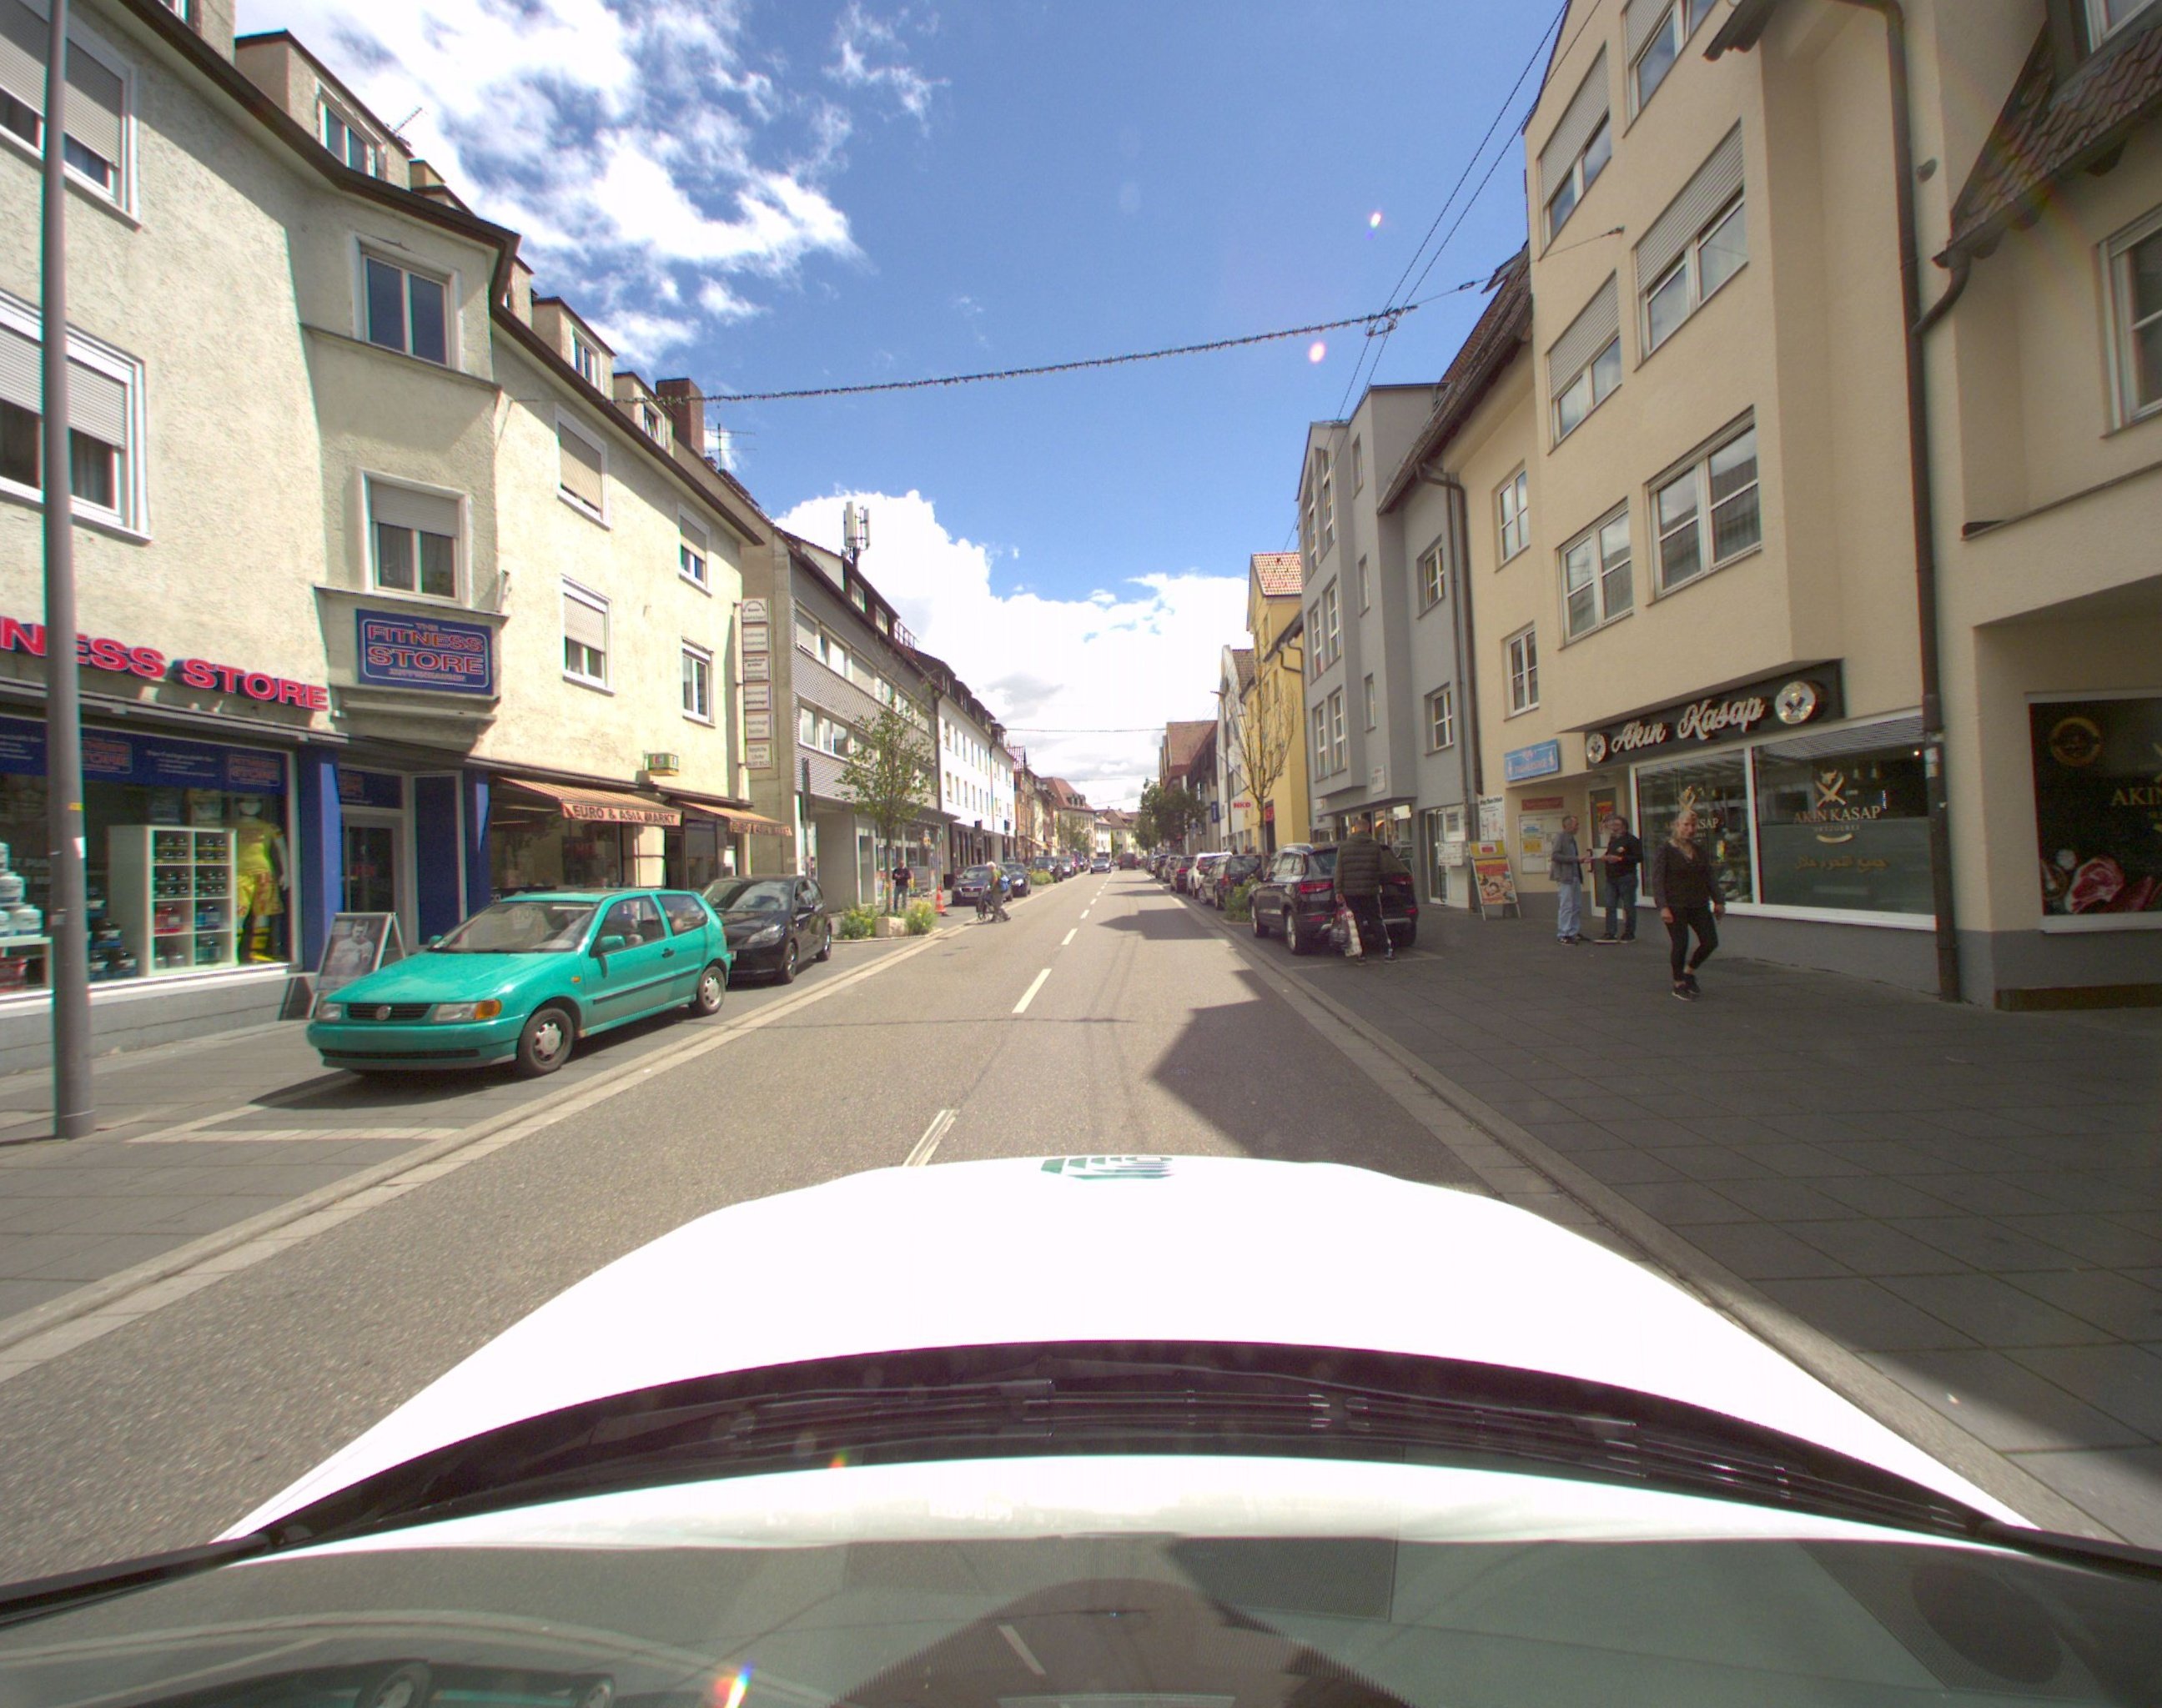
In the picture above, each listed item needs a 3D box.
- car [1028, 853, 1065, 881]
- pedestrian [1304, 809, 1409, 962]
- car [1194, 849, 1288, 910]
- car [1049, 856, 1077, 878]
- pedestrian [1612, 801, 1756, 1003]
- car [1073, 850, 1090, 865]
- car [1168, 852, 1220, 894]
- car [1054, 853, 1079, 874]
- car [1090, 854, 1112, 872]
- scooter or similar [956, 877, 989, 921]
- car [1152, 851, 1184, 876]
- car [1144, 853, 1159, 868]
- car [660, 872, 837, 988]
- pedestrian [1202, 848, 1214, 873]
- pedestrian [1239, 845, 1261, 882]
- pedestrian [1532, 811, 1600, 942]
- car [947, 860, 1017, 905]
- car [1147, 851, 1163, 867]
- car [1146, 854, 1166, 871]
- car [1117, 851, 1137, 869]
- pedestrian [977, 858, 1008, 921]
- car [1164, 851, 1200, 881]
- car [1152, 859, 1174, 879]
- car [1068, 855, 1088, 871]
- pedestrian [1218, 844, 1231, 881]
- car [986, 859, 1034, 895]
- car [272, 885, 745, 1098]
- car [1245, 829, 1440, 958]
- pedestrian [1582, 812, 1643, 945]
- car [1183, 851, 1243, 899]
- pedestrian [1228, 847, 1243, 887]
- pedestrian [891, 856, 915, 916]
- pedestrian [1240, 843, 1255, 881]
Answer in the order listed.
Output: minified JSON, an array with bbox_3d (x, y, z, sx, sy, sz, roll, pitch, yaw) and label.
[{"bbox_3d":[-2.224,0.856,53.681,1.807,1.755,4.676,-1,-1,6],"label":"car"},{"bbox_3d":[3.584,0.402,10.673,0.972,1.863,0.865,-4,-1,1],"label":"pedestrian"},{"bbox_3d":[4.373,0.685,22.902,1.684,1.440,4.294,-4,-1,0],"label":"car"},{"bbox_3d":[-1.446,1.059,66.644,1.808,1.755,4.469,-1,-1,4],"label":"car"},{"bbox_3d":[5.435,0.419,7.385,0.741,1.718,0.656,-2,-1,1],"label":"pedestrian"},{"bbox_3d":[0.028,0.445,92.998,1.793,1.604,4.350,-2,0,0],"label":"car"},{"bbox_3d":[4.531,0.714,33.178,1.682,1.472,4.527,-1,1,2],"label":"car"},{"bbox_3d":[-1.308,0.867,74.800,1.808,1.889,4.845,-1,-1,4],"label":"car"},{"bbox_3d":[1.941,0.867,77.290,1.897,1.563,4.649,-1,-1,3],"label":"car"},{"bbox_3d":[-2.827,1.165,21.219,0.779,1.126,0.630,-1,-1,-2],"label":"scooter or similar"},{"bbox_3d":[5.628,0.615,53.052,1.715,1.577,4.110,-1,-1,2],"label":"car"},{"bbox_3d":[8.285,0.754,95.952,1.602,1.495,3.799,-5,-1,4],"label":"car"},{"bbox_3d":[-4.789,1.002,12.221,1.596,1.446,3.547,0,-1,-8],"label":"car"},{"bbox_3d":[8.930,0.464,57.177,0.738,1.737,0.757,-1,-1,3],"label":"pedestrian"},{"bbox_3d":[7.385,0.415,35.660,0.747,1.553,0.726,-3,-1,2],"label":"pedestrian"},{"bbox_3d":[6.544,0.302,11.013,0.533,1.718,0.606,-1,-1,1],"label":"pedestrian"},{"bbox_3d":[-3.650,1.005,30.776,1.783,1.513,4.716,-2,0,3],"label":"car"},{"bbox_3d":[7.606,0.481,83.868,1.602,1.532,3.799,-3,0,4],"label":"car"},{"bbox_3d":[6.749,0.800,73.292,1.713,1.494,4.114,-1,-1,4],"label":"car"},{"bbox_3d":[5.061,0.692,90.012,2.033,1.848,5.001,-1,-1,2],"label":"car"},{"bbox_3d":[-2.294,0.914,21.231,0.729,1.618,0.651,-1,-1,-2],"label":"pedestrian"},{"bbox_3d":[5.399,0.648,43.888,1.713,1.476,4.359,-1,-1,4],"label":"car"},{"bbox_3d":[6.786,1.236,67.669,1.713,1.577,4.433,-1,-1,4],"label":"car"},{"bbox_3d":[-0.283,0.944,87.165,1.792,1.598,4.393,-2,0,3],"label":"car"},{"bbox_3d":[7.073,0.416,40.159,0.585,1.841,0.576,-1,-1,3],"label":"pedestrian"},{"bbox_3d":[-3.151,1.009,36.813,1.784,1.503,4.177,-1,0,0],"label":"car"},{"bbox_3d":[-4.844,1.042,7.622,1.578,1.414,3.674,-1,-1,6],"label":"car"},{"bbox_3d":[3.909,0.530,12.970,1.793,1.603,4.205,-4,0,2],"label":"car"},{"bbox_3d":[7.050,0.322,10.815,0.434,1.718,0.537,-1,-1,0],"label":"pedestrian"},{"bbox_3d":[4.585,0.722,28.697,1.682,1.574,3.759,-1,-1,3],"label":"car"},{"bbox_3d":[7.095,0.587,37.477,0.585,1.841,0.576,-1,-1,3],"label":"pedestrian"},{"bbox_3d":[-5.348,0.943,24.443,0.546,1.757,0.728,-1,-1,0],"label":"pedestrian"},{"bbox_3d":[8.202,0.414,40.115,0.585,1.841,0.576,-1,-1,3],"label":"pedestrian"}]
